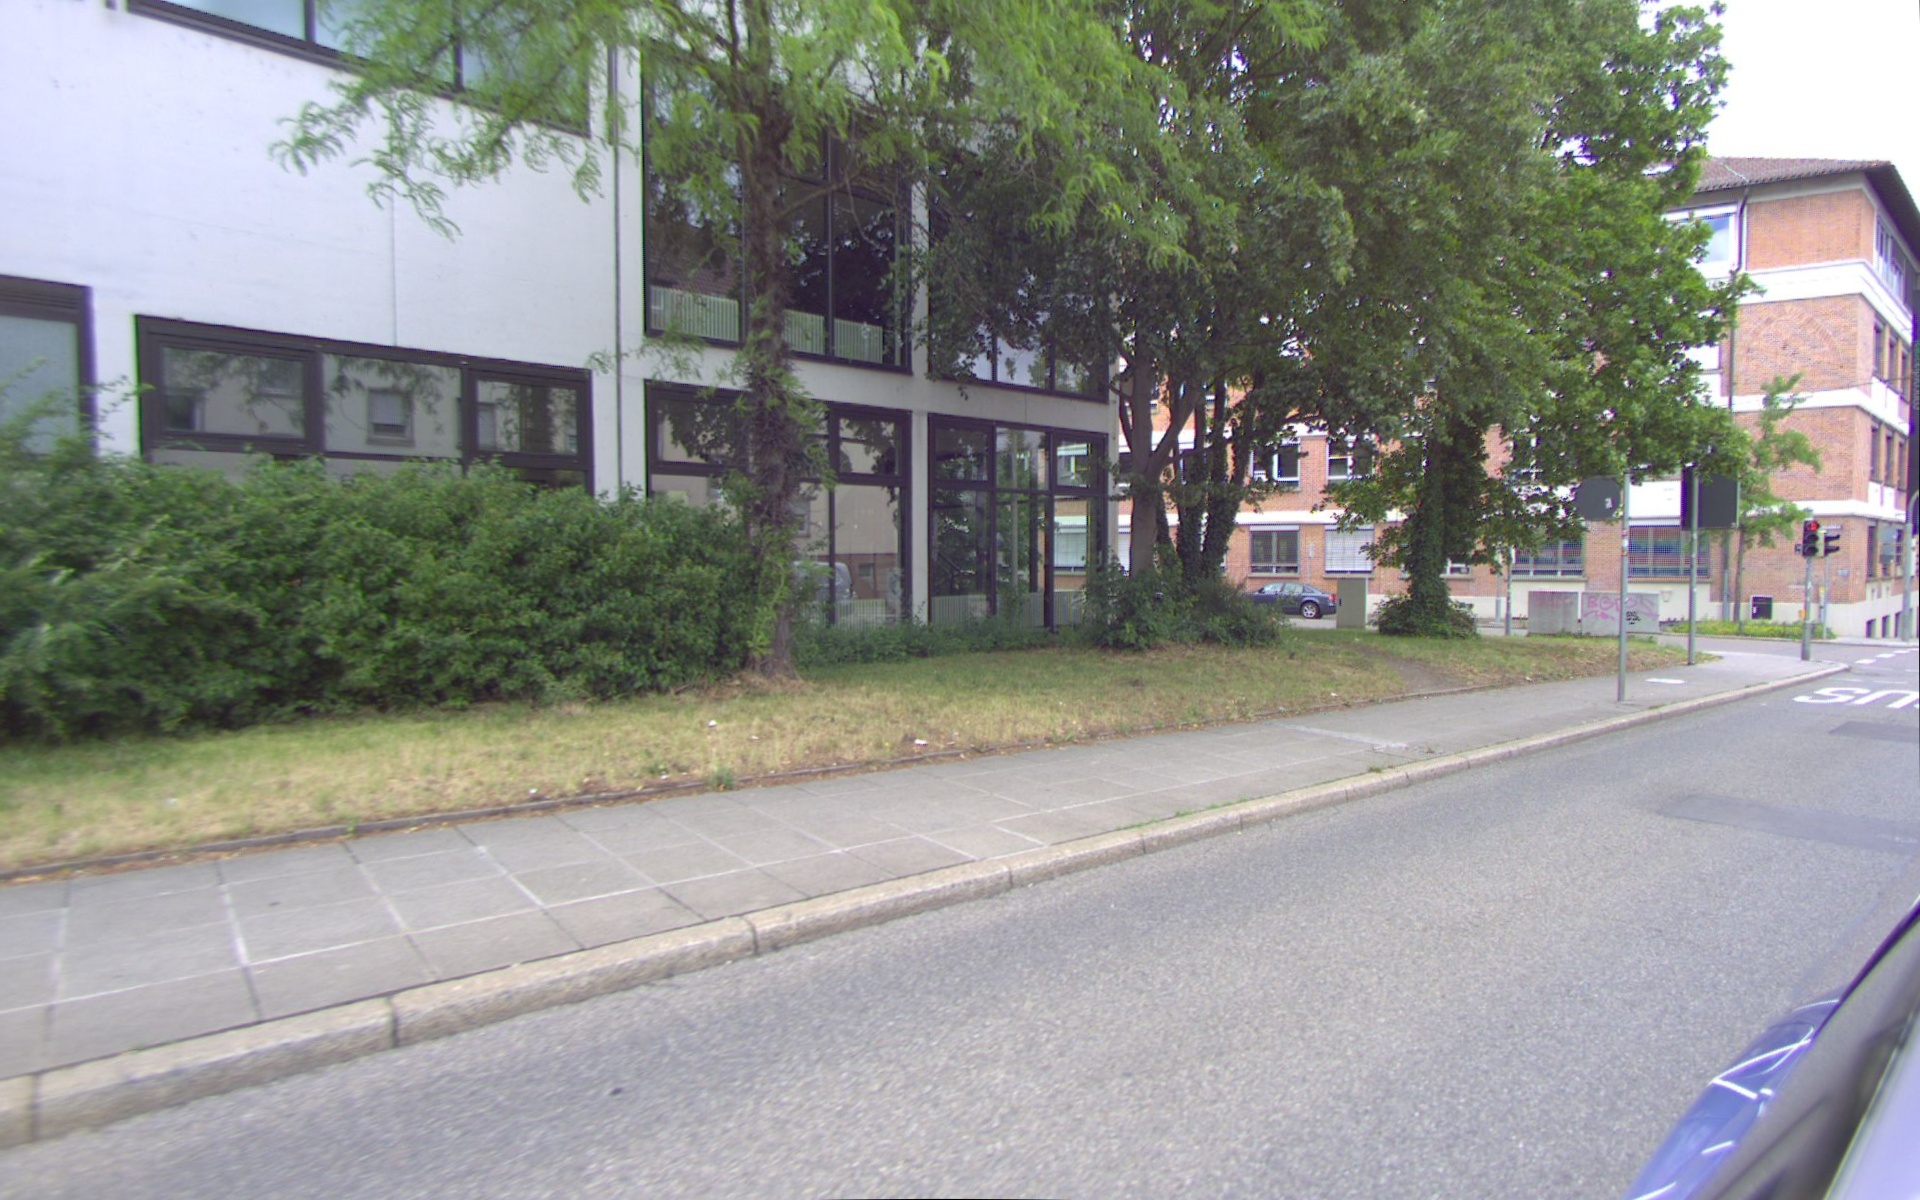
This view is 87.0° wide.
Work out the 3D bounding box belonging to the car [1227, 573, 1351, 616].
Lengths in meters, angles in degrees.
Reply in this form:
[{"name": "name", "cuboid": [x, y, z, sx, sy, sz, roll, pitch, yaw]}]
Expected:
[{"name": "car", "cuboid": [12.846, -0.225, 39.556, 4.380, 1.423, 1.755, 3, -1, 28]}]
